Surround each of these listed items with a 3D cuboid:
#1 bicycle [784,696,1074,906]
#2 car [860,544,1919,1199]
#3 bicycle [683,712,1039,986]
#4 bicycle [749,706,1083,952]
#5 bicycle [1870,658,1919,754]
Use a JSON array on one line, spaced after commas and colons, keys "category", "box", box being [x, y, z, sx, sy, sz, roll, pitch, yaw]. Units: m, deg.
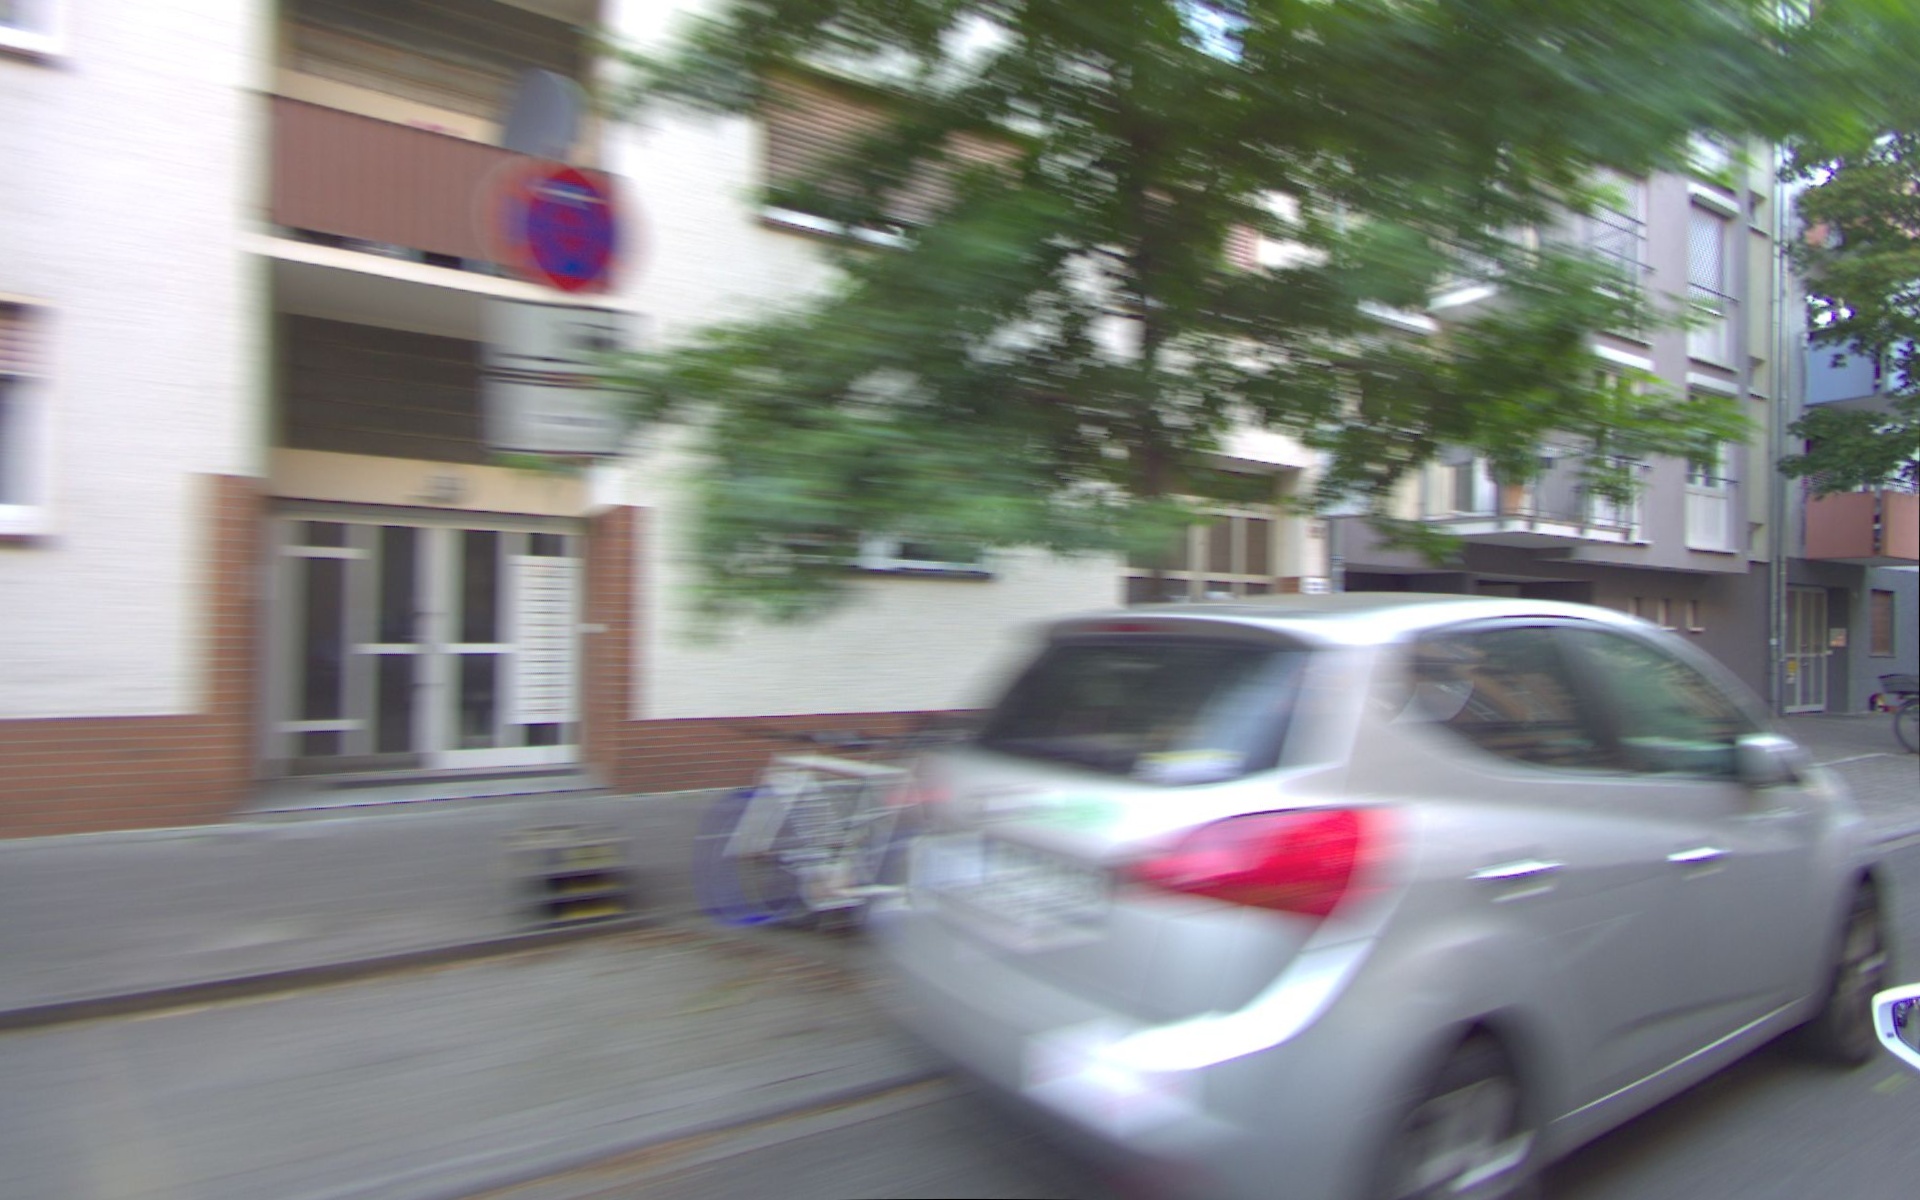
[{"category": "bicycle", "box": [-0.208, 1.052, 5.561, 1.636, 0.910, 0.383, 1, -1, 31]}, {"category": "car", "box": [1.786, 0.758, 3.550, 3.958, 1.583, 1.653, 2, -2, -34]}, {"category": "bicycle", "box": [-0.492, 1.035, 4.507, 1.674, 0.919, 0.383, 1, -1, 31]}, {"category": "bicycle", "box": [-0.257, 1.045, 4.902, 1.674, 0.910, 0.383, 1, -1, 31]}, {"category": "bicycle", "box": [12.793, 1.342, 12.705, 1.786, 1.179, 0.699, 0, -1, 12]}]
